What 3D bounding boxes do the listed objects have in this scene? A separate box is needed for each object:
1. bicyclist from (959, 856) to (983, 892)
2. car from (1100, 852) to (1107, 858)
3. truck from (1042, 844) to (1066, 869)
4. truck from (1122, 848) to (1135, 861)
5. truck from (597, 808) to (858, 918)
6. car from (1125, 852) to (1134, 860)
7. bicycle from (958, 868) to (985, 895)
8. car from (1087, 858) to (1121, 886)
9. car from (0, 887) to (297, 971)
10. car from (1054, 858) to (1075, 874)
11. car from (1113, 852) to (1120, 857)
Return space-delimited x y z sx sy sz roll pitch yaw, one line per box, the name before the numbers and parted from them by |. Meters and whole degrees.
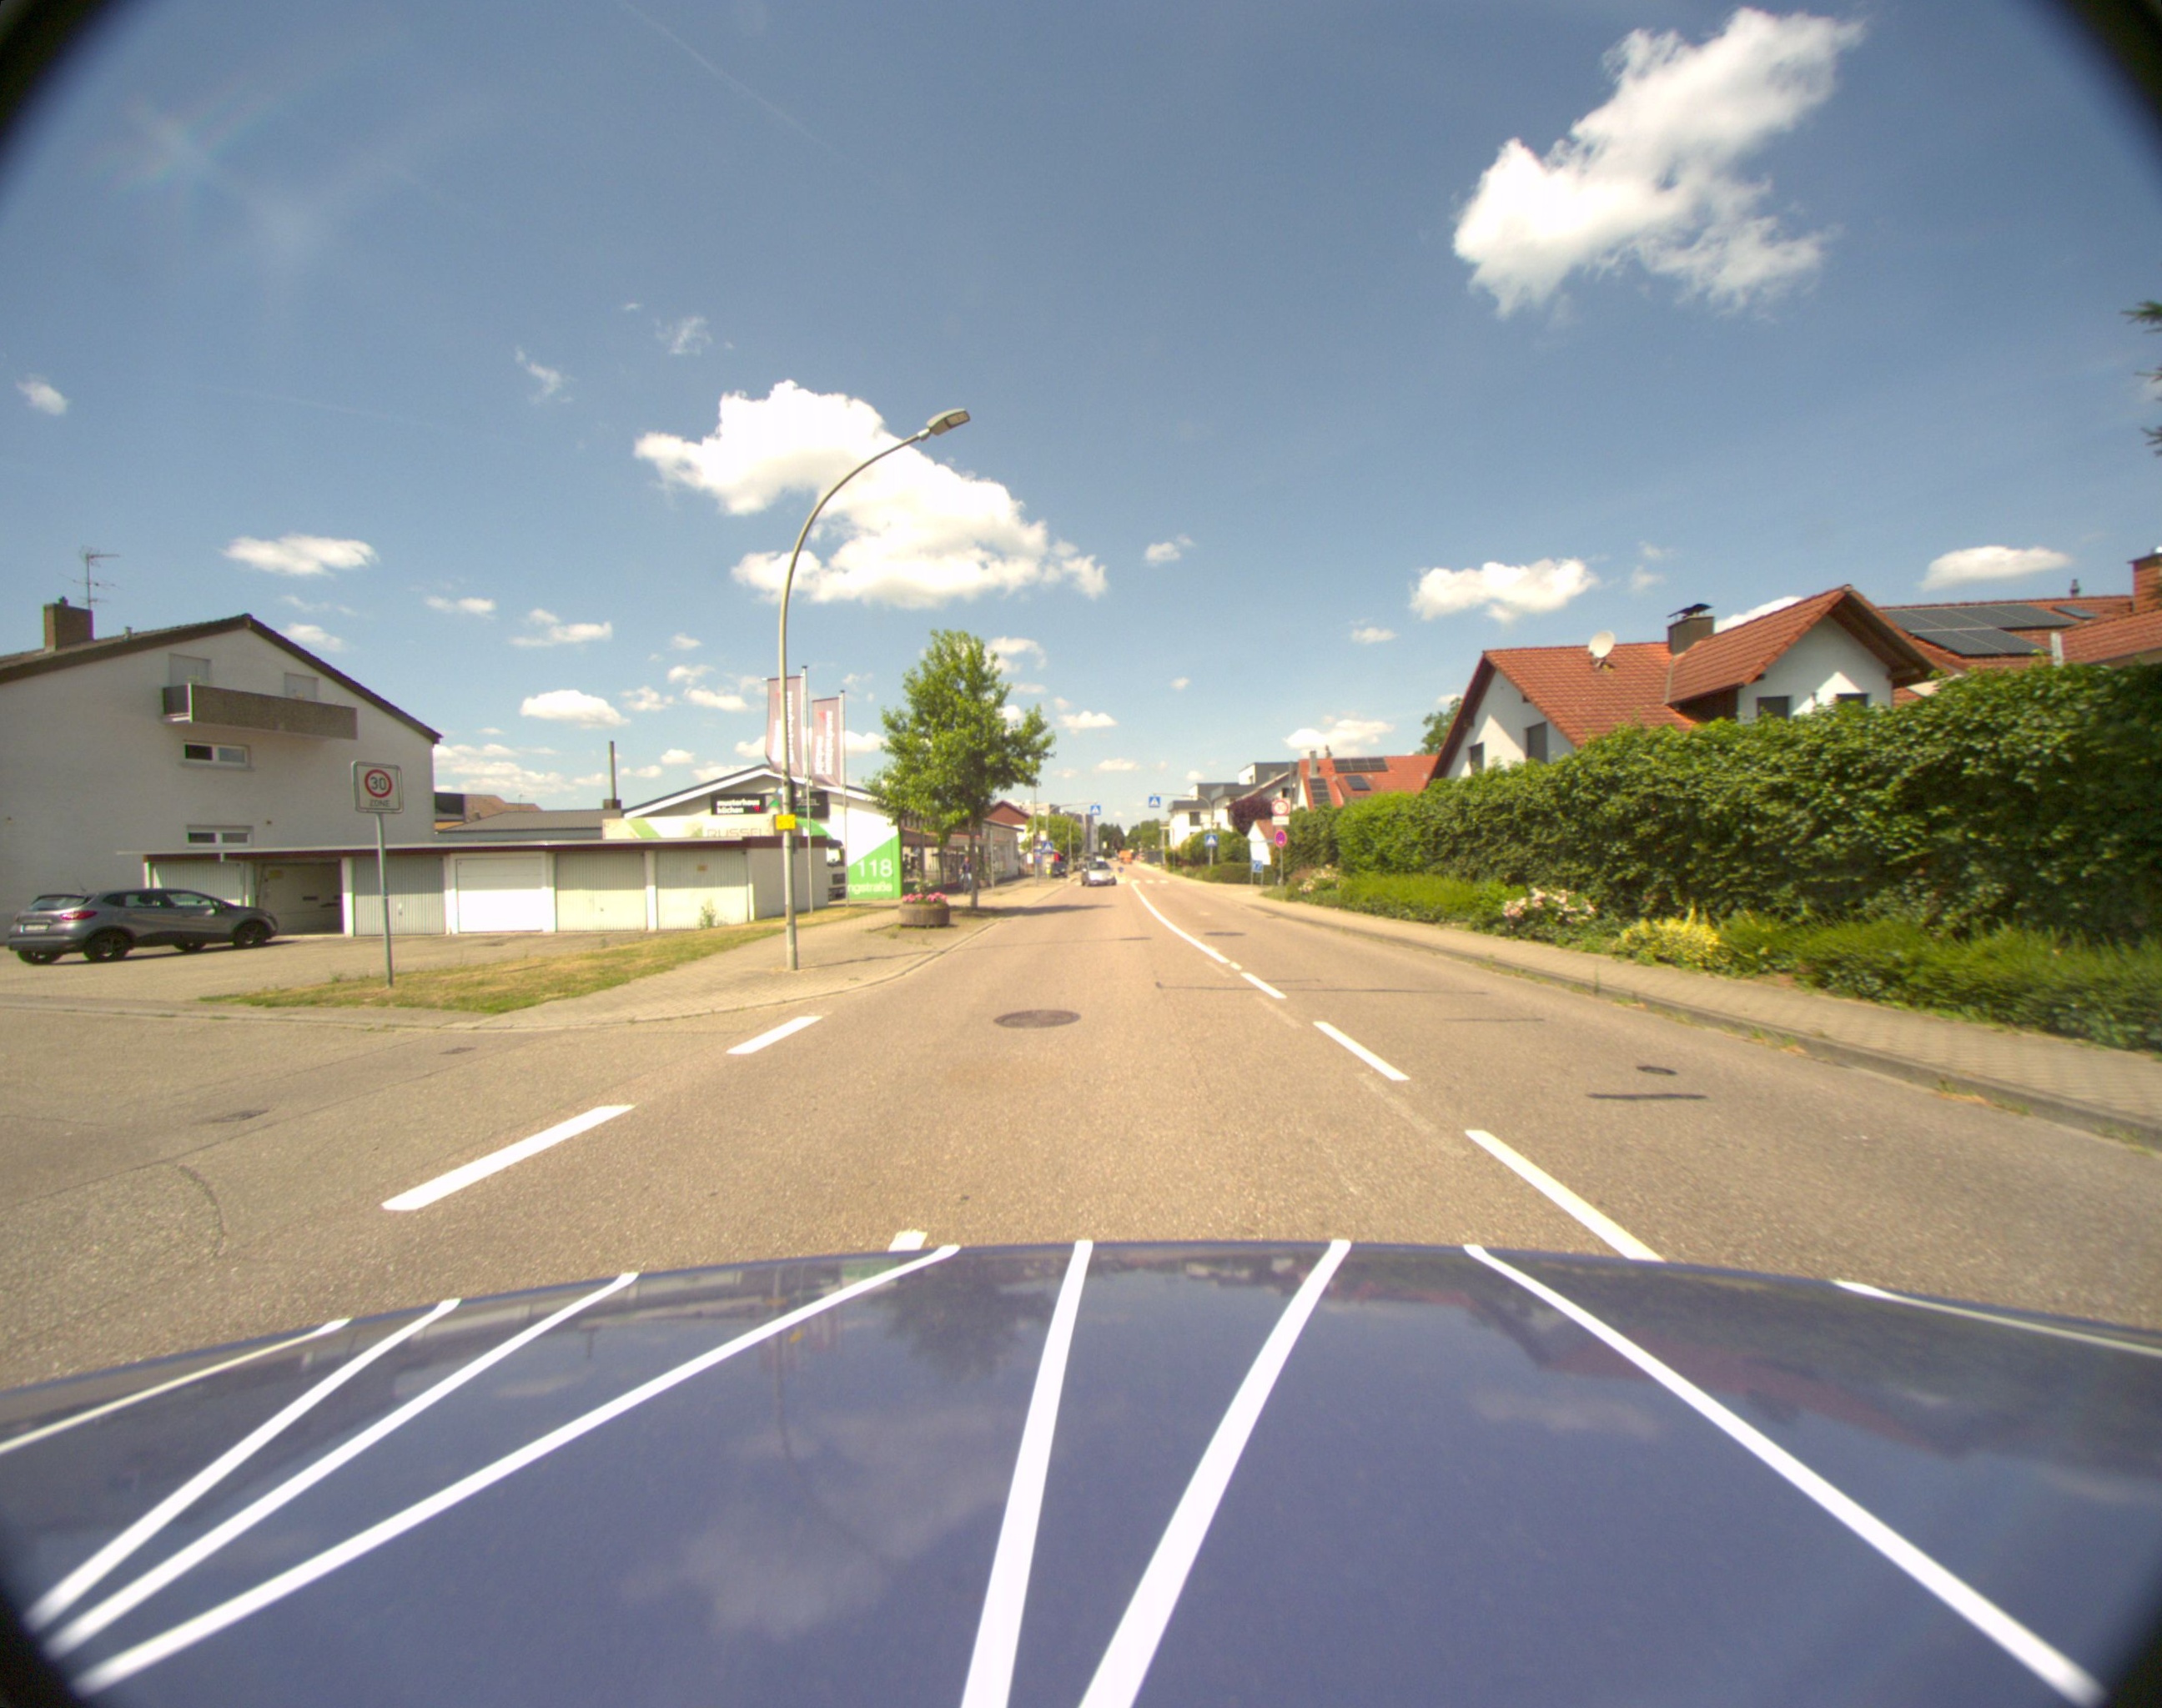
bicyclist | -5.143 0.929 35.473 0.805 1.620 1.112 -4 -1 2
car | 5.399 0.205 182.501 1.729 1.484 3.761 0 0 3
truck | -3.101 0.319 86.958 2.580 2.745 6.332 0 0 -3
truck | 10.717 0.093 172.678 2.864 2.695 6.792 0 1 2
truck | -12.752 0.313 27.873 8.190 3.552 2.677 -2 1 2
car | 9.724 0.384 152.382 1.799 1.480 3.614 0 0 2
bicycle | -5.118 1.288 35.562 0.805 1.158 1.944 -4 -1 2
car | 1.403 1.069 47.671 1.723 1.590 3.758 -4 0 -4
car | -21.270 1.637 17.623 1.679 1.494 4.132 -2 0 4
car | -1.539 1.114 71.882 1.729 1.484 3.760 0 0 2
car | 9.785 0.106 209.350 1.728 1.484 3.762 0 0 8
